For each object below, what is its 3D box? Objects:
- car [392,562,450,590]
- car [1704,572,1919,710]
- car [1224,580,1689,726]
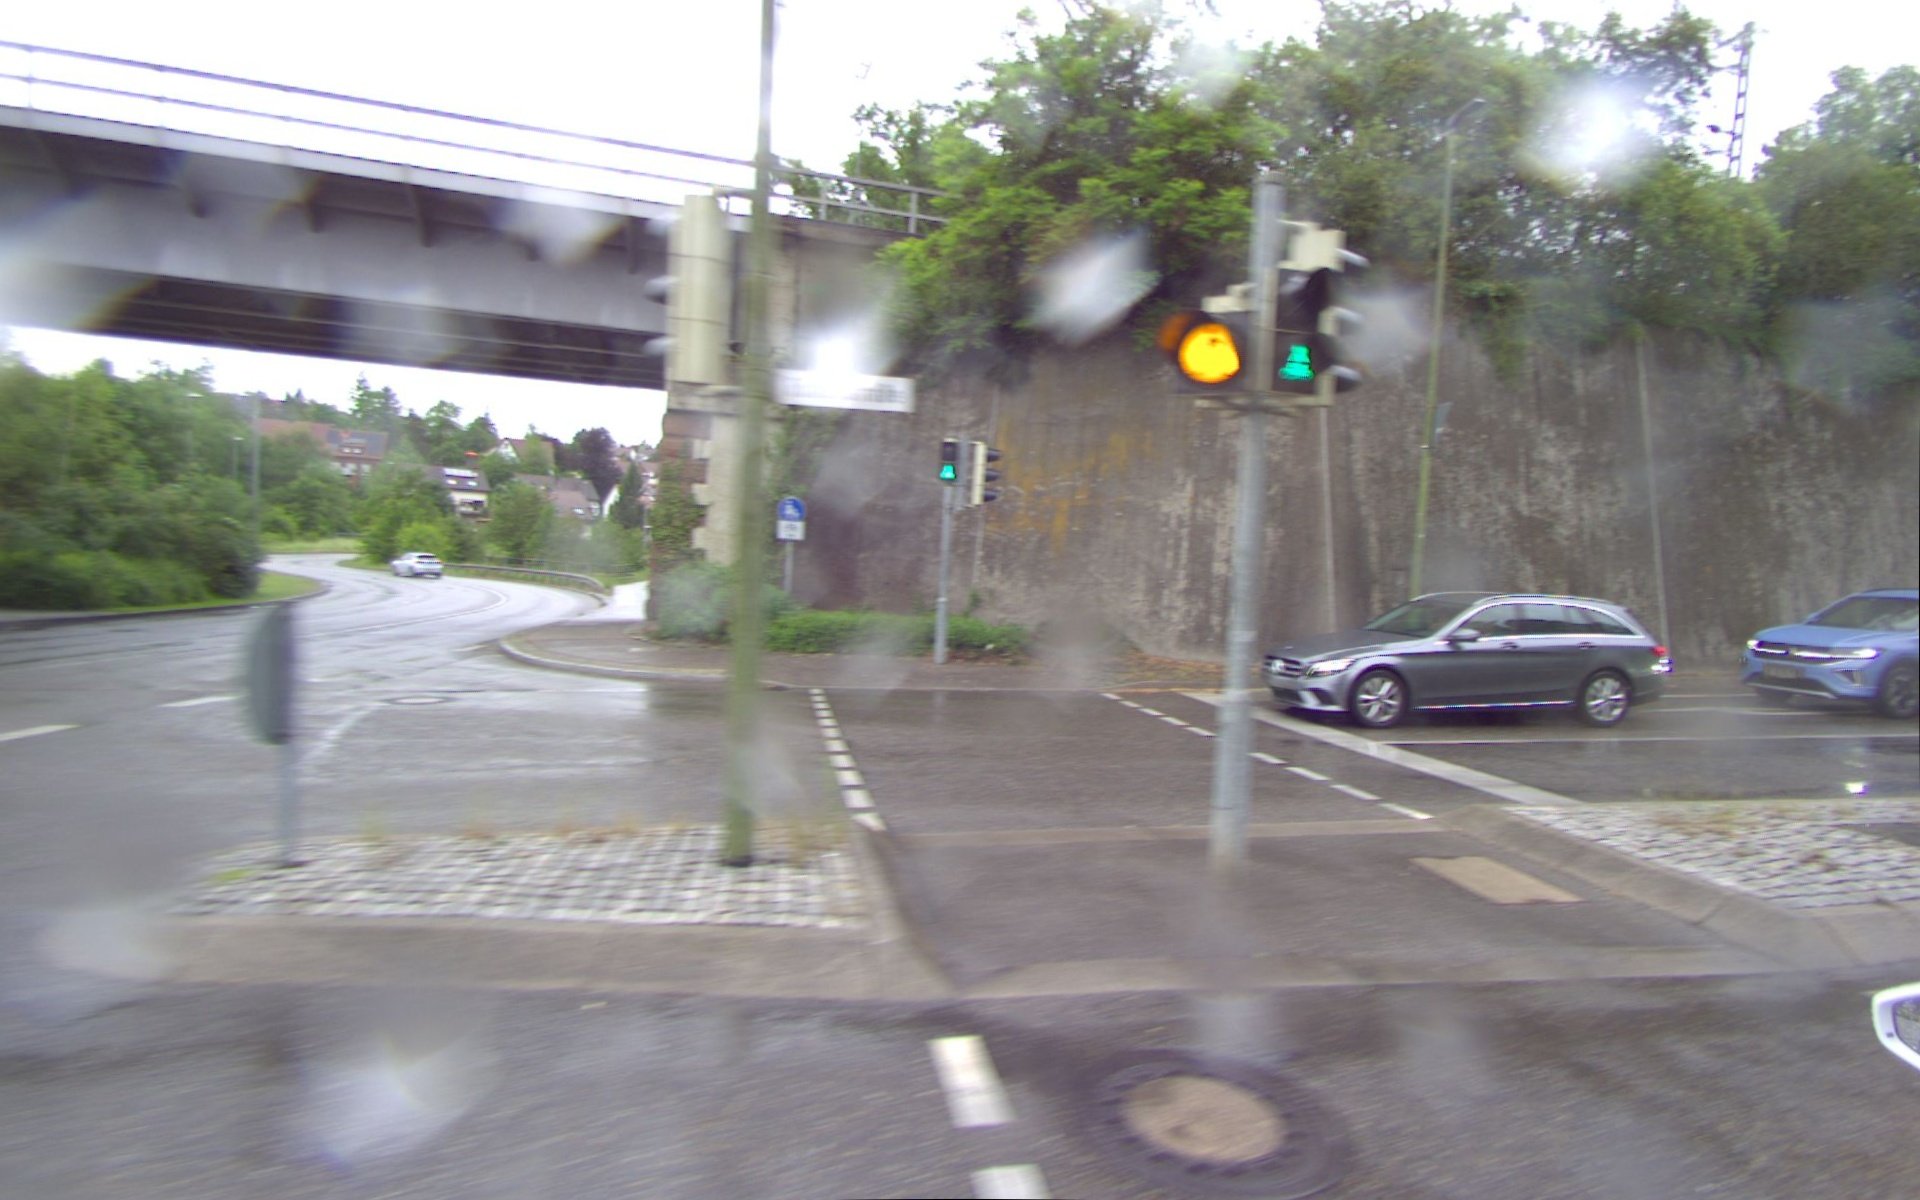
[{"bbox_3d":[-32.953,-1.449,61.376,3.943,1.583,1.989,1,0,43],"label":"car"},{"bbox_3d":[12.525,0.548,13.496,3.978,1.679,1.817,1,0,-10],"label":"car"},{"bbox_3d":[5.731,0.597,11.876,4.644,1.523,1.996,1,0,-10],"label":"car"}]
